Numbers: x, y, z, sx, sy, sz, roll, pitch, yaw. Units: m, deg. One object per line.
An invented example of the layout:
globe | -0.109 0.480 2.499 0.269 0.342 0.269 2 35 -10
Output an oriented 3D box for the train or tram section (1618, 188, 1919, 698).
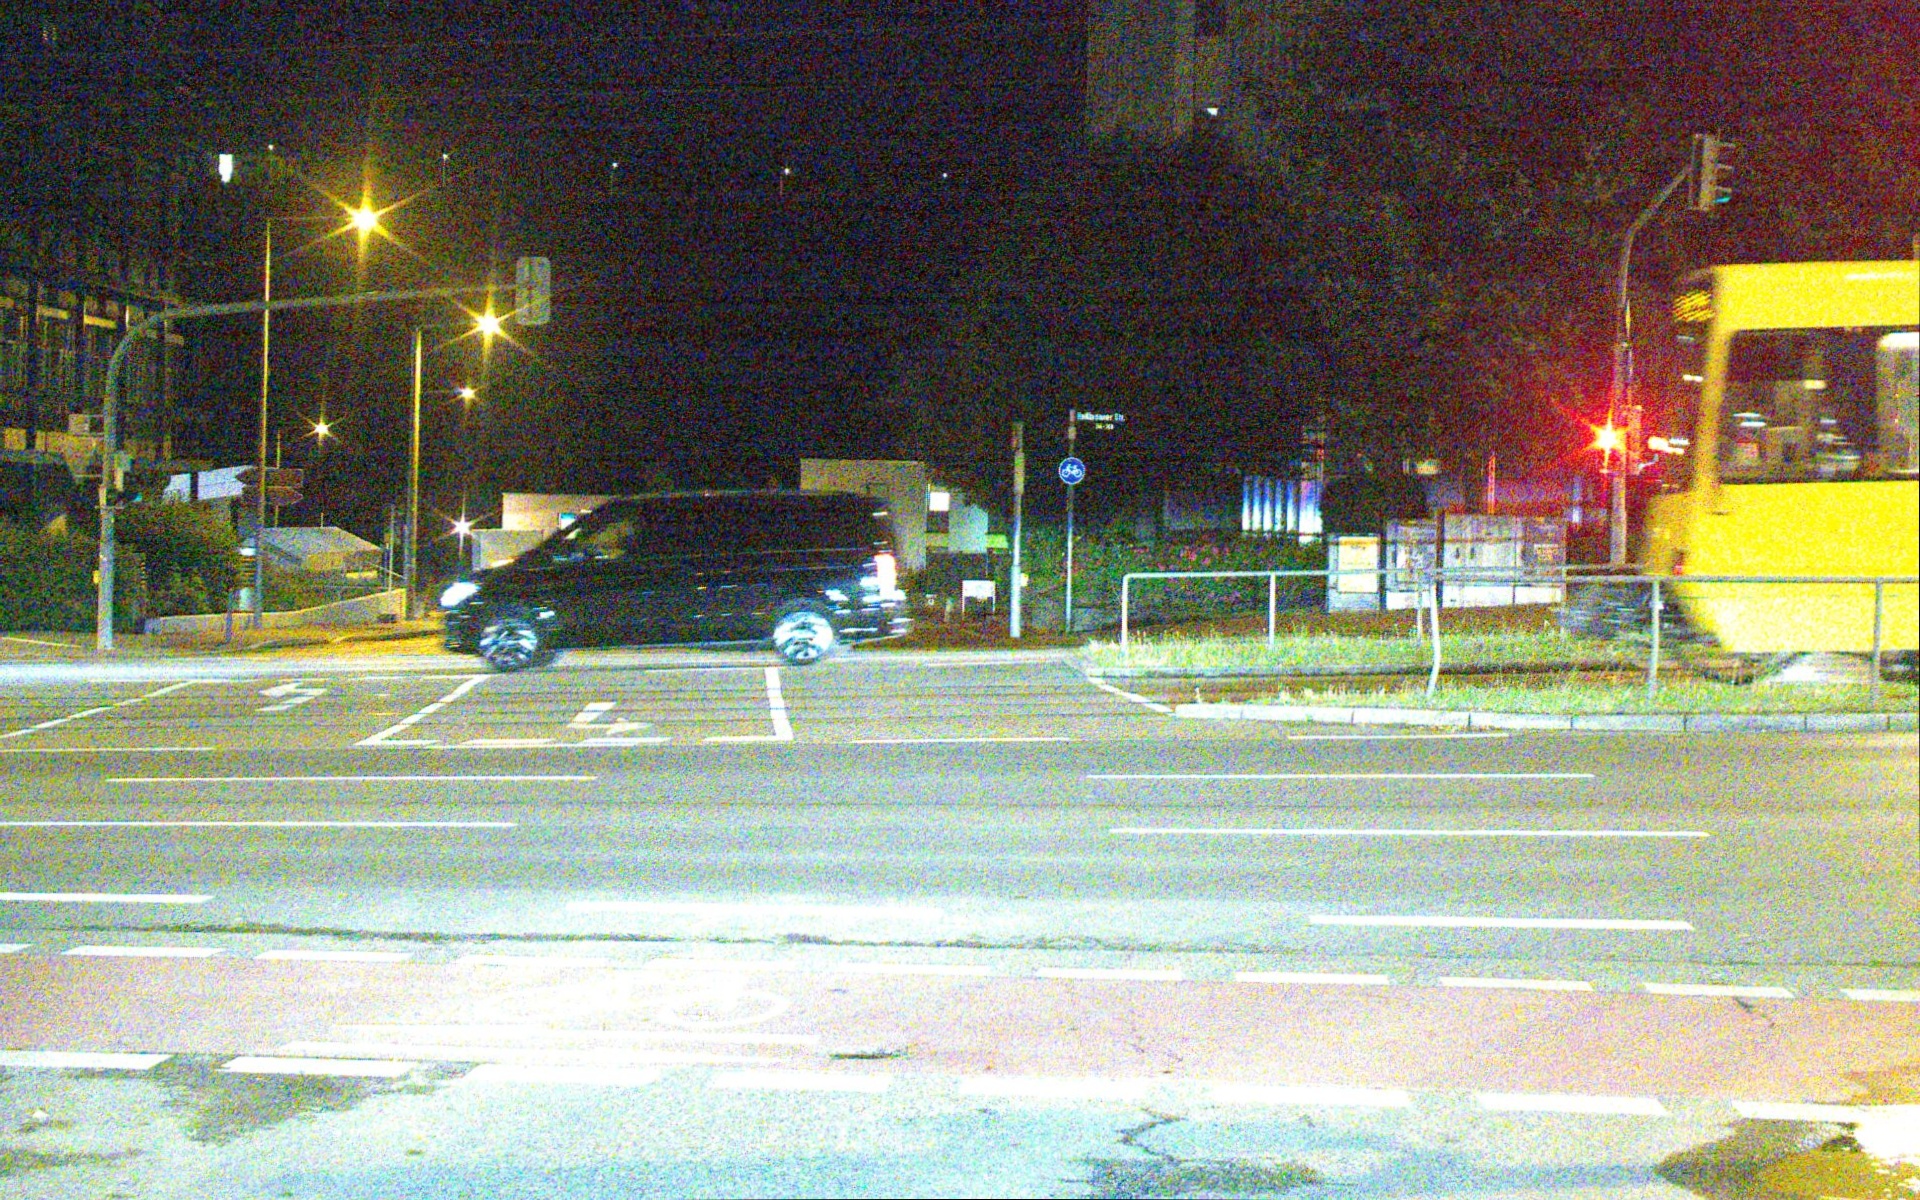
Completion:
train or tram section | 14.692 -1.369 27.062 18.421 3.836 2.965 -1 3 4

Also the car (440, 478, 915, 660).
car | -3.050 -0.338 37.754 4.944 1.878 1.869 1 0 4

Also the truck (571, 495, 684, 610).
truck | -14.497 -2.038 149.216 3.359 4.826 7.908 1 0 -17

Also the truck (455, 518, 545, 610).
truck | -16.077 -1.242 119.905 2.417 3.078 6.440 1 0 -14
